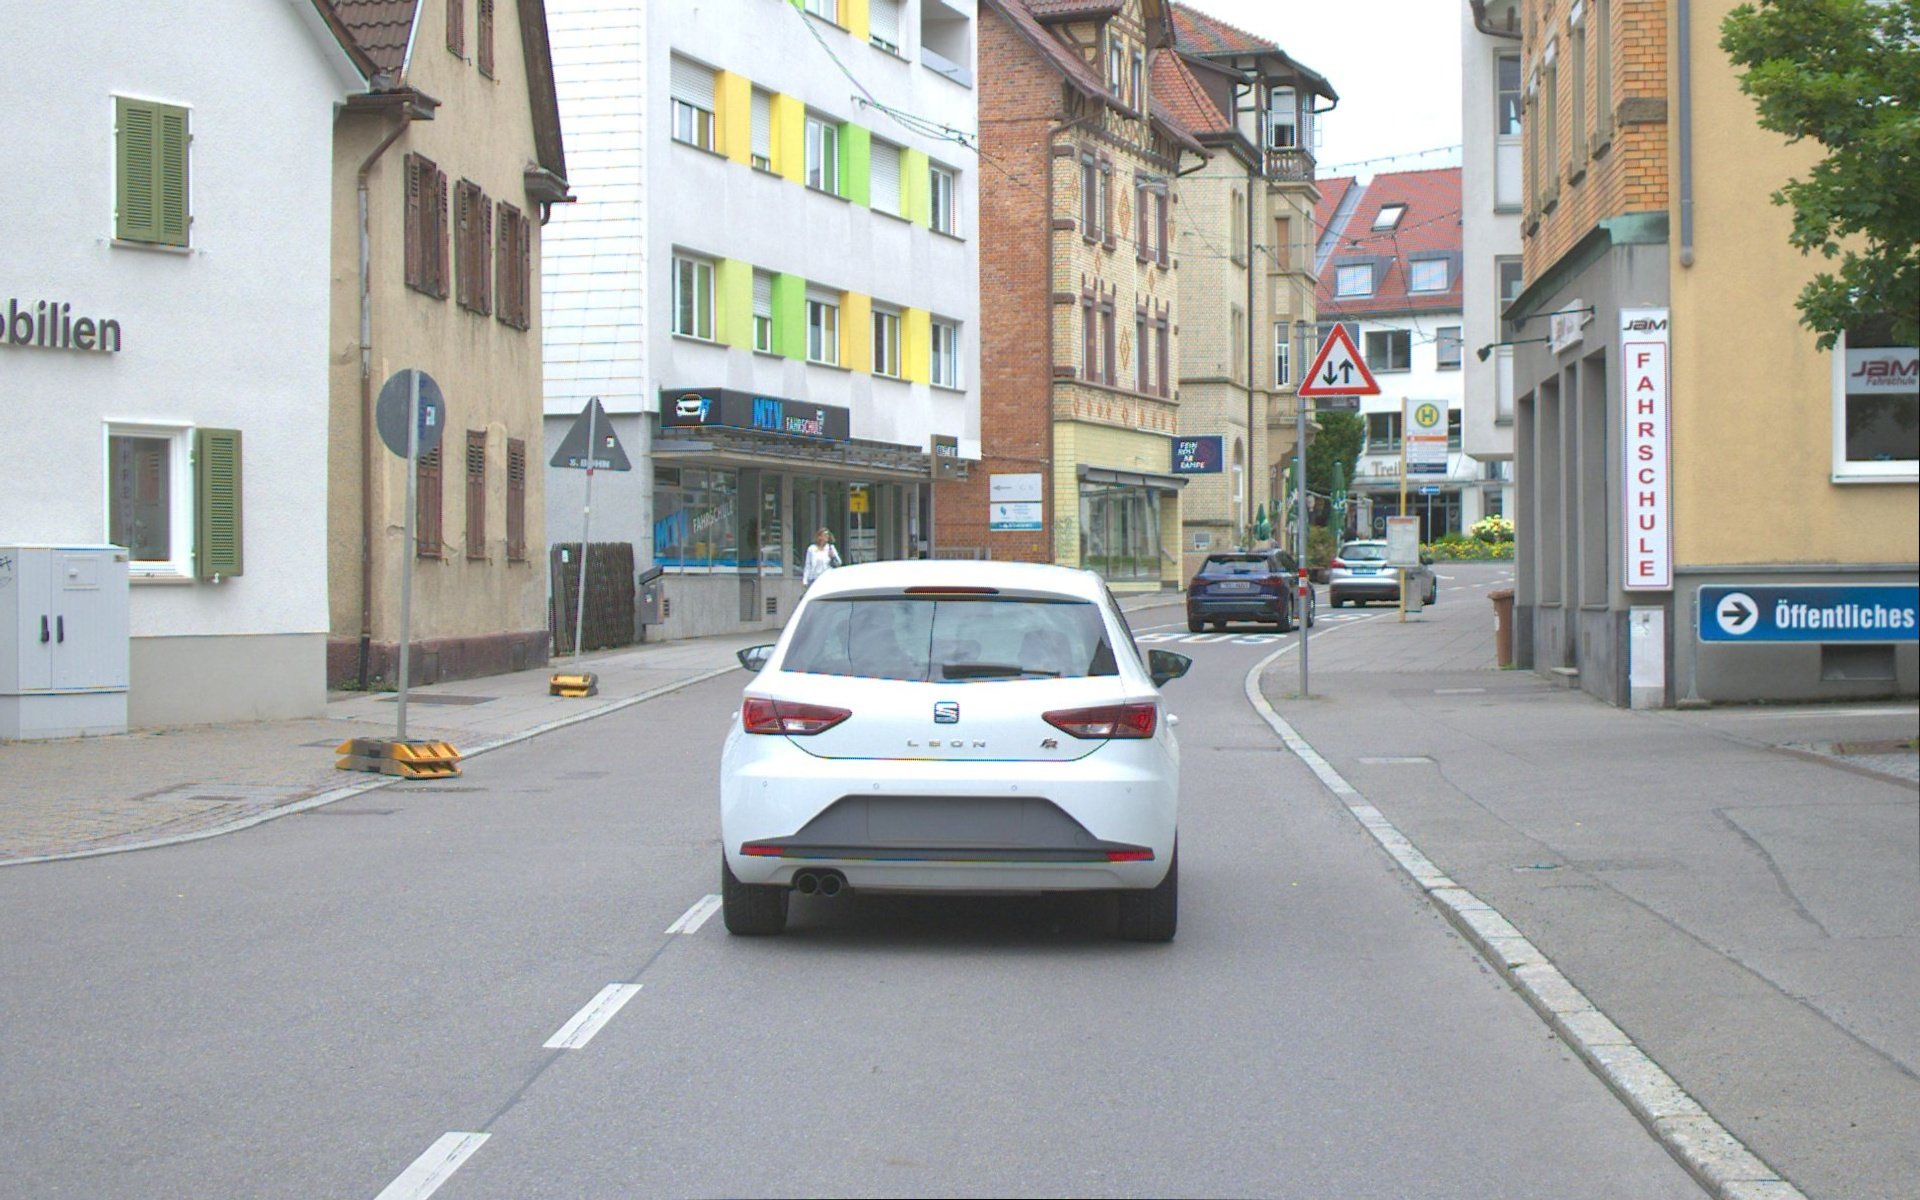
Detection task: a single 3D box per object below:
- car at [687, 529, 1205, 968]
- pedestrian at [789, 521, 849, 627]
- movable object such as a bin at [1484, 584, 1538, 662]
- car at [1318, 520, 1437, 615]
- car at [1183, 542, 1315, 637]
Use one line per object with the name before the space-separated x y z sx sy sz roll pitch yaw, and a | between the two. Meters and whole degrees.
car | 0.080 0.487 14.182 1.812 1.475 3.870 1 2 4
pedestrian | -2.233 -0.423 54.497 0.892 1.659 0.861 0 1 1
movable object such as a bin | 6.569 0.269 41.004 0.620 0.918 0.581 0 1 8
car | 9.075 -0.721 74.517 1.995 2.007 3.997 0 1 15
car | 4.947 -0.208 58.483 1.812 1.475 3.869 0 2 11
